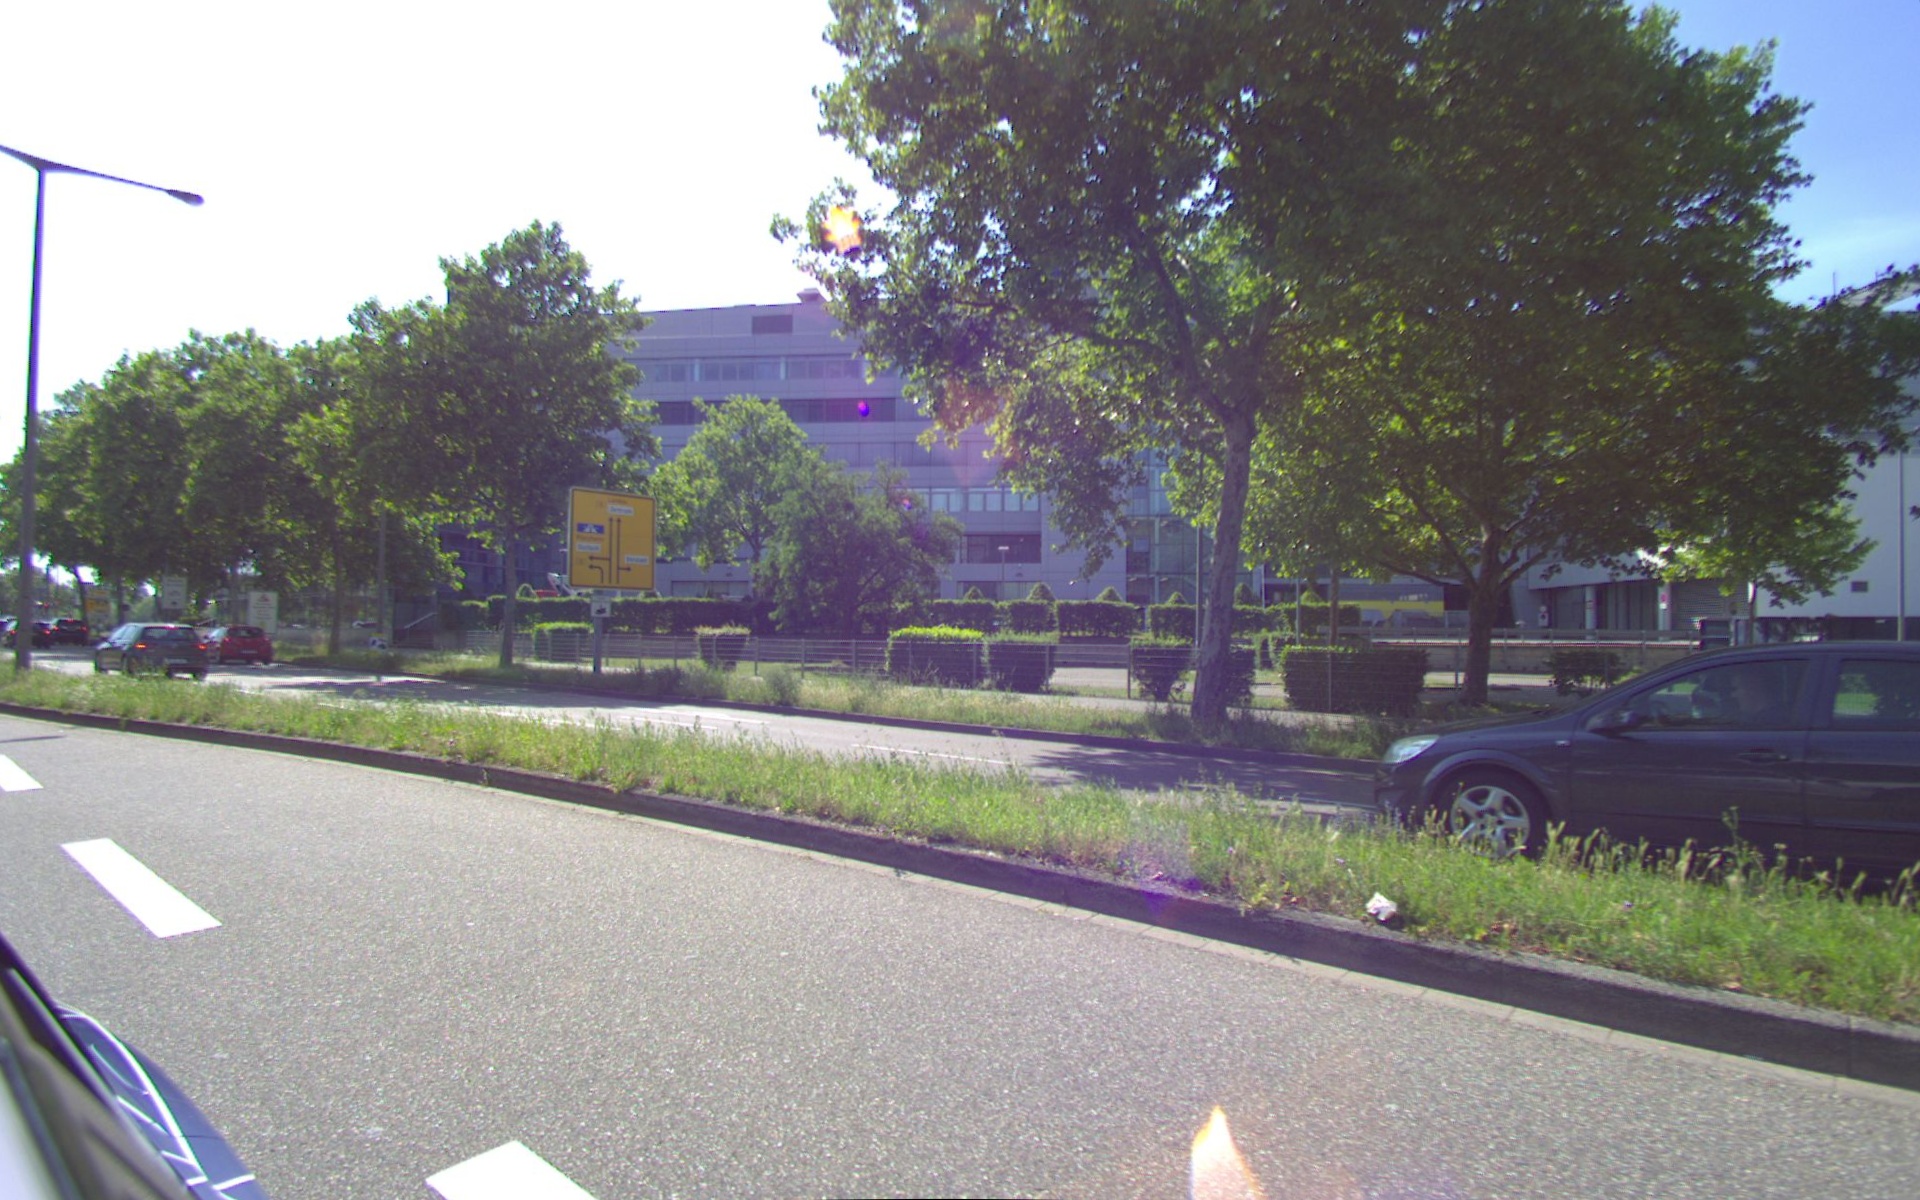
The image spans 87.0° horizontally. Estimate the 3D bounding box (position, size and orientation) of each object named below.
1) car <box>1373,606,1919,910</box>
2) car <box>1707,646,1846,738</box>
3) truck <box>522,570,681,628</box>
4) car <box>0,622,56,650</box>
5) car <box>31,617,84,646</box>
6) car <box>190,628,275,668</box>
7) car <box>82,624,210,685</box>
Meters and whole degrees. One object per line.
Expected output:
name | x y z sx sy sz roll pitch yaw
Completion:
car | 4.885 0.809 5.906 4.279 1.480 1.751 -1 -3 39
car | 14.947 1.589 18.451 1.772 1.475 3.945 -2 -3 41
truck | -21.877 -0.008 61.999 8.875 3.421 2.669 0 -2 5
car | -52.142 1.998 56.419 4.983 1.479 1.809 -1 -3 40
car | -59.728 2.121 66.926 4.648 1.849 1.973 -2 -4 41
car | -27.999 1.830 38.923 3.998 1.473 1.745 -2 -4 41
car | -21.666 1.401 26.890 4.162 1.490 1.821 -1 -3 39
